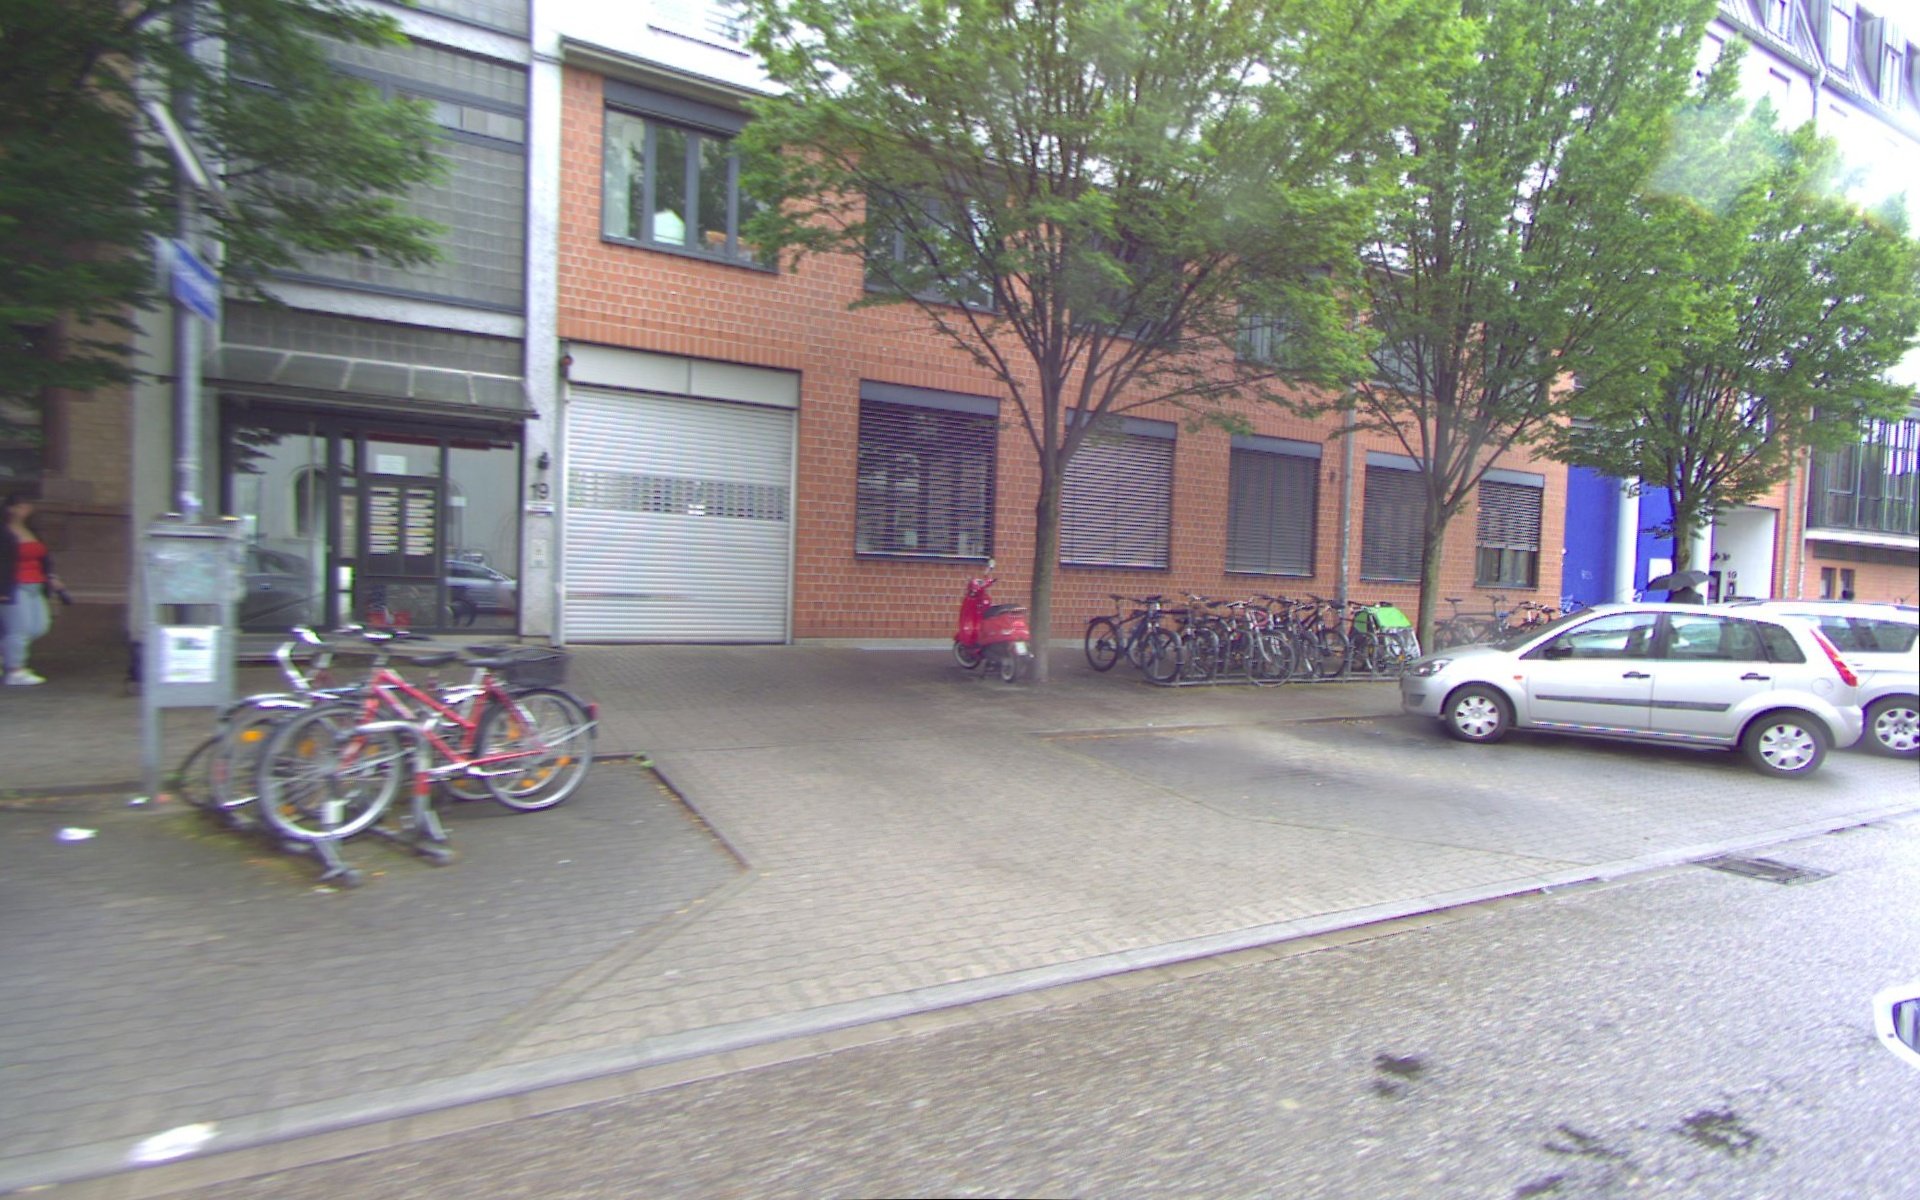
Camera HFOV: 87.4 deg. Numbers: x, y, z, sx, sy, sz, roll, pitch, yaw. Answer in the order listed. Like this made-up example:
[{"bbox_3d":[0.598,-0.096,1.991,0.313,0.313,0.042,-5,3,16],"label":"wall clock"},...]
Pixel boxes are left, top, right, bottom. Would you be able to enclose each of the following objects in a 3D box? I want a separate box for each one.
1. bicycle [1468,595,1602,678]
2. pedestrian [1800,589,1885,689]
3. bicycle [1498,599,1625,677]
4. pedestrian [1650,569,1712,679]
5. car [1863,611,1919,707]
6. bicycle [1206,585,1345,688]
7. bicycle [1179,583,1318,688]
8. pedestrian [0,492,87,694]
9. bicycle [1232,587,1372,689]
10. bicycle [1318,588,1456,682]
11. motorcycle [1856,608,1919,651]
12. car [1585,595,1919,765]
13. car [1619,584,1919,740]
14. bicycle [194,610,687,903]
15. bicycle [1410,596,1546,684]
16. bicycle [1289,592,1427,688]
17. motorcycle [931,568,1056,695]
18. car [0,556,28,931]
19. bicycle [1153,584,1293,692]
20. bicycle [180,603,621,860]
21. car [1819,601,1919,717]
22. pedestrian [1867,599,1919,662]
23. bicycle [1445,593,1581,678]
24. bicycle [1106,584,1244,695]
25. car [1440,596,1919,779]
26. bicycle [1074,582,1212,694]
[{"bbox_3d":[9.827,0.601,17.256,0.547,1.168,1.886,1,6,-31],"label":"bicycle"},{"bbox_3d":[16.437,0.711,18.721,0.746,1.776,0.823,1,4,-22],"label":"pedestrian"},{"bbox_3d":[10.992,0.671,18.430,0.547,1.168,1.886,1,6,-31],"label":"bicycle"},{"bbox_3d":[11.587,0.377,16.147,0.427,1.730,0.609,3,0,-28],"label":"pedestrian"},{"bbox_3d":[16.703,1.000,15.804,3.324,1.477,1.678,3,2,28],"label":"car"},{"bbox_3d":[4.361,0.471,14.046,0.547,1.168,1.886,1,6,-31],"label":"bicycle"},{"bbox_3d":[3.902,0.443,13.737,0.547,1.168,1.886,1,6,-31],"label":"bicycle"},{"bbox_3d":[-7.745,-0.070,8.399,0.583,1.624,0.563,0,5,-34],"label":"pedestrian"},{"bbox_3d":[4.793,0.498,14.227,0.547,1.168,1.886,1,6,-31],"label":"bicycle"},{"bbox_3d":[6.451,0.503,15.294,0.547,1.168,1.886,1,6,-31],"label":"bicycle"},{"bbox_3d":[27.874,0.876,30.128,2.089,1.190,0.750,1,4,-29],"label":"motorcycle"},{"bbox_3d":[9.178,0.819,11.468,3.325,1.676,1.631,1,0,29],"label":"car"},{"bbox_3d":[11.305,0.804,12.895,4.444,1.559,2.334,7,3,29],"label":"car"},{"bbox_3d":[-2.623,0.679,5.326,0.740,1.173,2.206,4,3,45],"label":"bicycle"},{"bbox_3d":[8.392,0.621,16.372,0.547,1.168,1.886,1,6,-31],"label":"bicycle"},{"bbox_3d":[5.898,0.565,15.017,0.547,1.168,1.886,1,6,-31],"label":"bicycle"},{"bbox_3d":[0.355,0.330,11.943,0.648,1.242,1.876,1,6,-25],"label":"motorcycle"},{"bbox_3d":[-5.562,0.518,3.746,3.411,1.455,1.651,1,0,19],"label":"car"},{"bbox_3d":[3.467,0.465,13.429,0.547,1.168,1.886,1,6,-31],"label":"bicycle"},{"bbox_3d":[-3.168,0.642,5.883,0.773,1.173,2.132,4,3,45],"label":"bicycle"},{"bbox_3d":[14.433,0.869,14.059,3.326,1.562,1.677,3,2,31],"label":"car"},{"bbox_3d":[24.115,0.782,25.955,0.598,1.572,0.707,1,4,-22],"label":"pedestrian"},{"bbox_3d":[9.239,0.565,16.867,0.547,1.168,1.886,1,6,-31],"label":"bicycle"},{"bbox_3d":[2.746,0.471,13.051,0.547,1.168,1.886,1,6,-31],"label":"bicycle"},{"bbox_3d":[6.854,0.746,10.072,3.645,1.471,1.683,1,0,26],"label":"car"},{"bbox_3d":[2.283,0.442,12.806,0.547,1.168,1.886,1,6,-31],"label":"bicycle"}]
